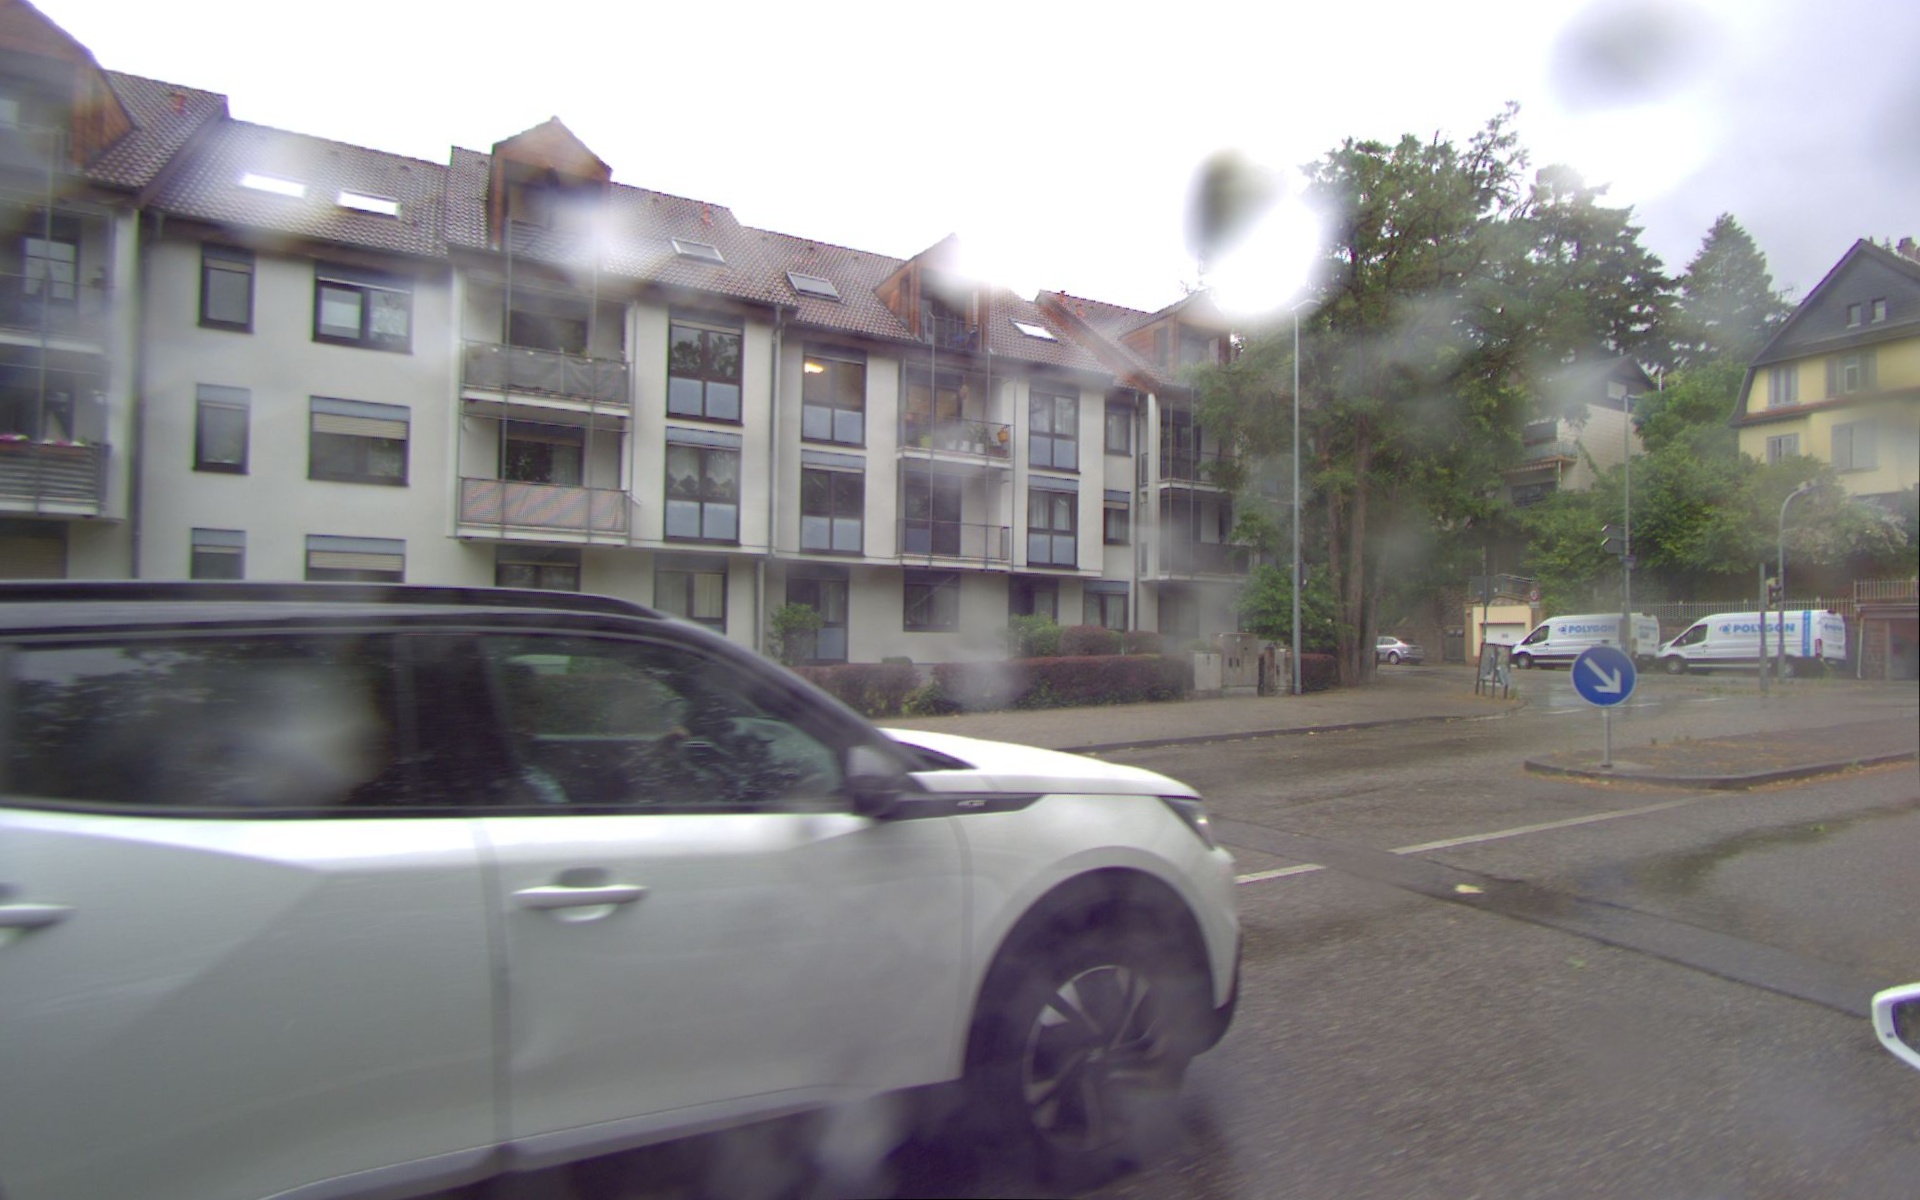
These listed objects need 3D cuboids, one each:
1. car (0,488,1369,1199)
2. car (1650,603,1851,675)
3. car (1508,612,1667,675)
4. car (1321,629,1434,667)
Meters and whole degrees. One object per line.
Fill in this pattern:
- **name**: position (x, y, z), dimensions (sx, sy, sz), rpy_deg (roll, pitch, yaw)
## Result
- **car**: position (-1.089, 0.666, 2.674), dimensions (4.315, 1.556, 1.745), rpy_deg (1, -3, -30)
- **car**: position (30.032, 1.474, 38.420), dimensions (2.286, 2.527, 5.639), rpy_deg (2, -2, -27)
- **car**: position (27.308, 1.862, 43.963), dimensions (2.286, 2.527, 5.542), rpy_deg (2, -2, -27)
- **car**: position (22.241, 2.536, 53.792), dimensions (2.084, 1.878, 5.542), rpy_deg (2, -2, -27)
